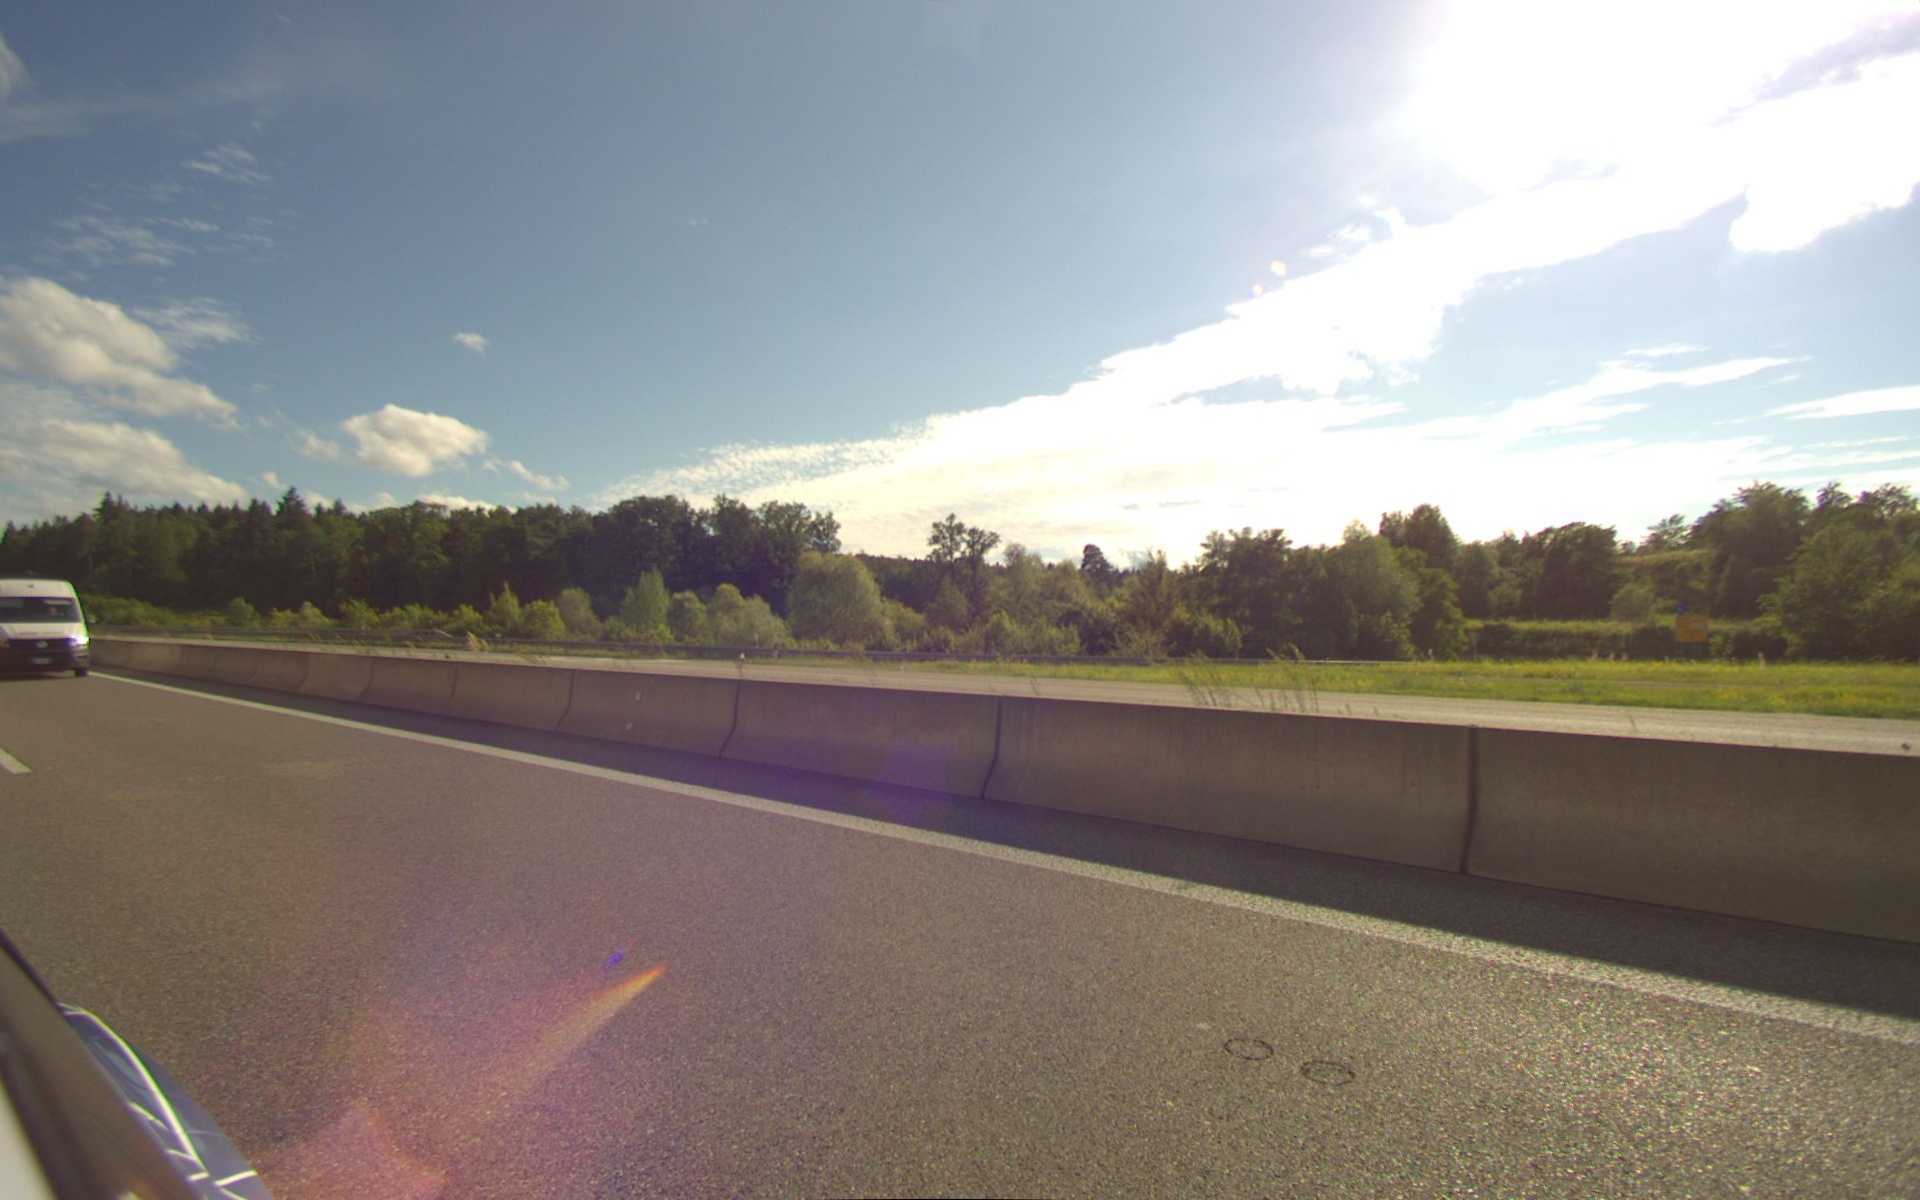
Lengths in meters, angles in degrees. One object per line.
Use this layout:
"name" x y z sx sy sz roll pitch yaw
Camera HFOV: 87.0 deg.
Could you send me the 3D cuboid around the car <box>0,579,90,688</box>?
"car" -24.824 0.851 26.747 6.180 2.619 1.994 -1 -1 42
